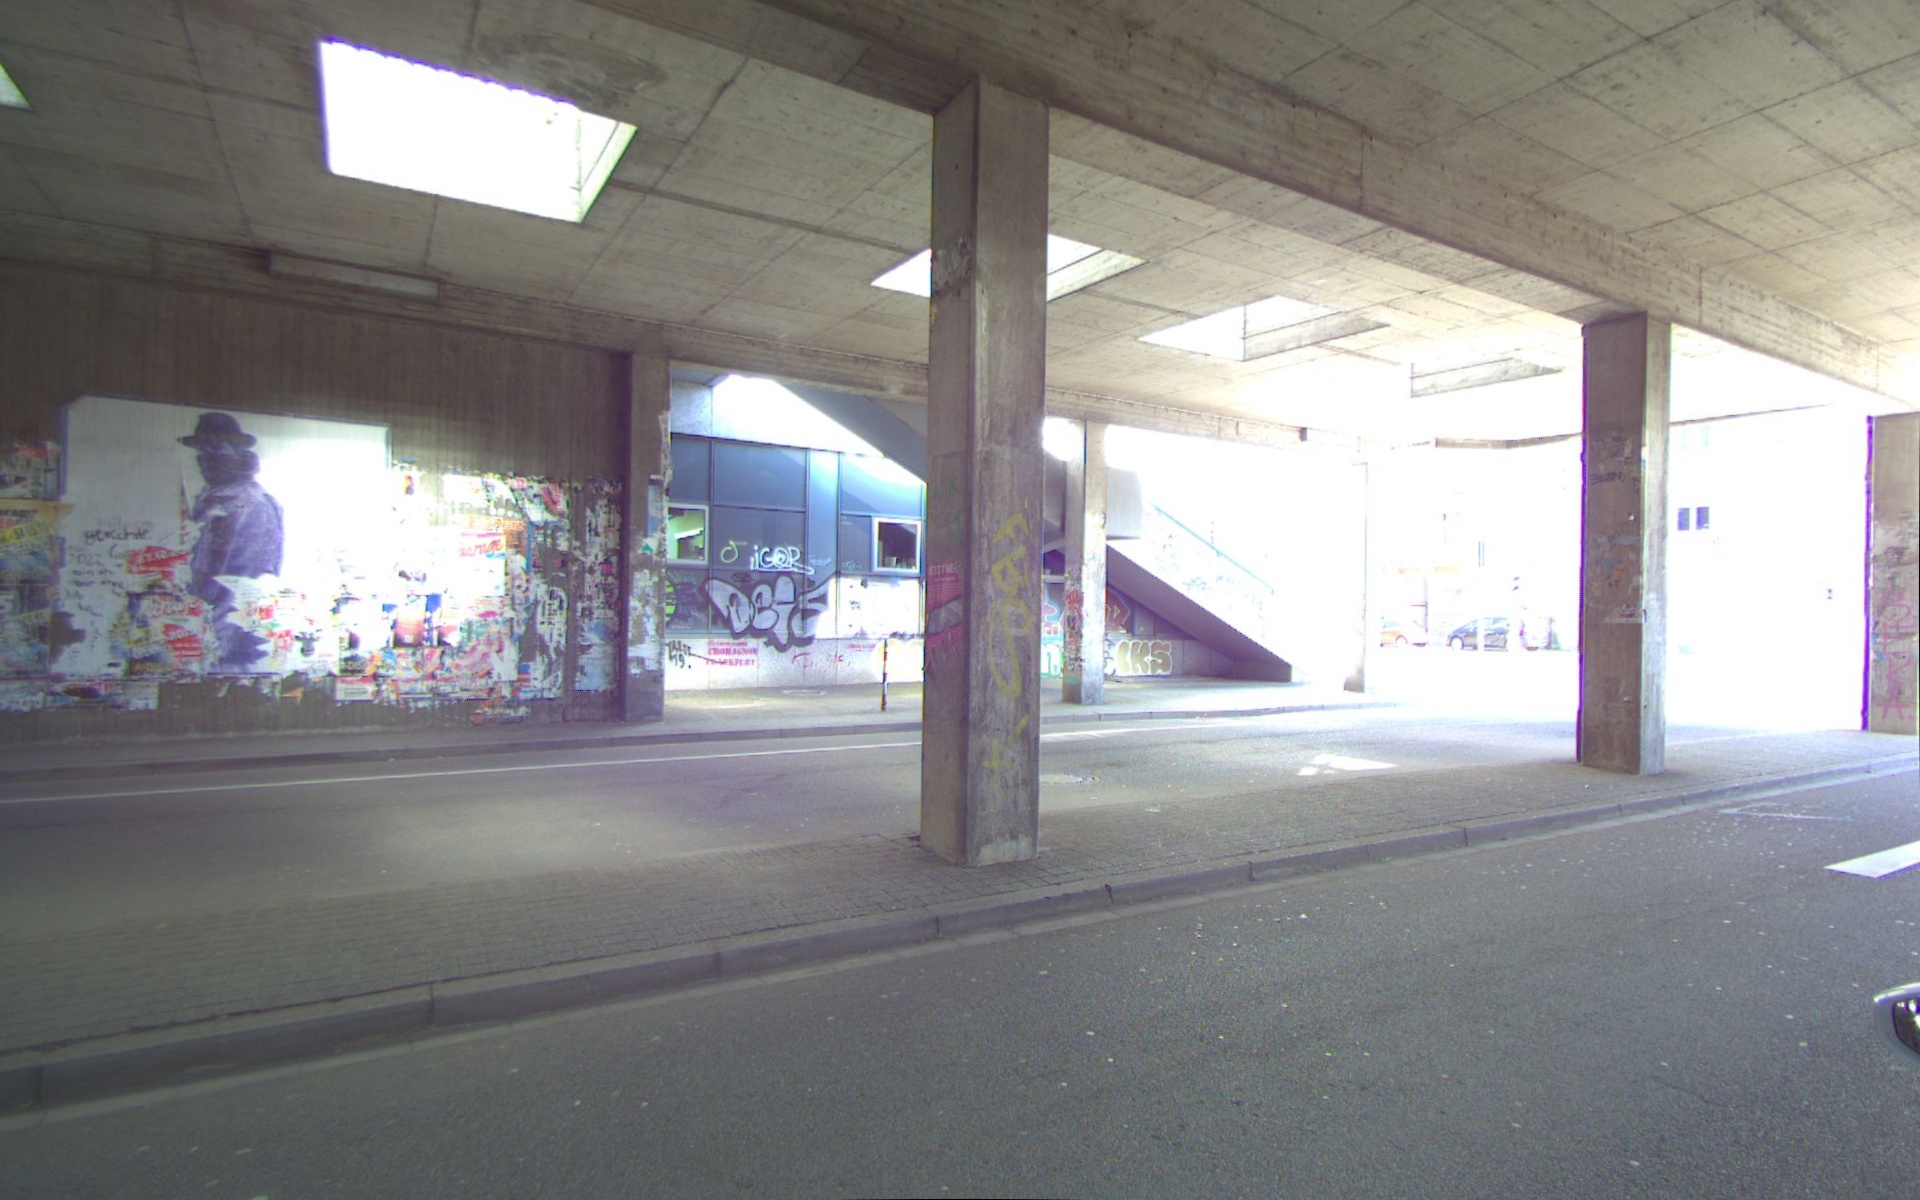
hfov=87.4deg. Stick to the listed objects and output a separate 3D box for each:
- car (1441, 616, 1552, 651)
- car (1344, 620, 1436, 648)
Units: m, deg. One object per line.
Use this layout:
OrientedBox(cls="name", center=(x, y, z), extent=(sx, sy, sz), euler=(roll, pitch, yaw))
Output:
OrientedBox(cls="car", center=(25.402, 1.568, 47.660), extent=(2.240, 1.571, 4.111), euler=(1, -1, -29))
OrientedBox(cls="car", center=(22.481, 1.754, 52.671), extent=(2.163, 1.392, 3.971), euler=(1, -1, -28))
